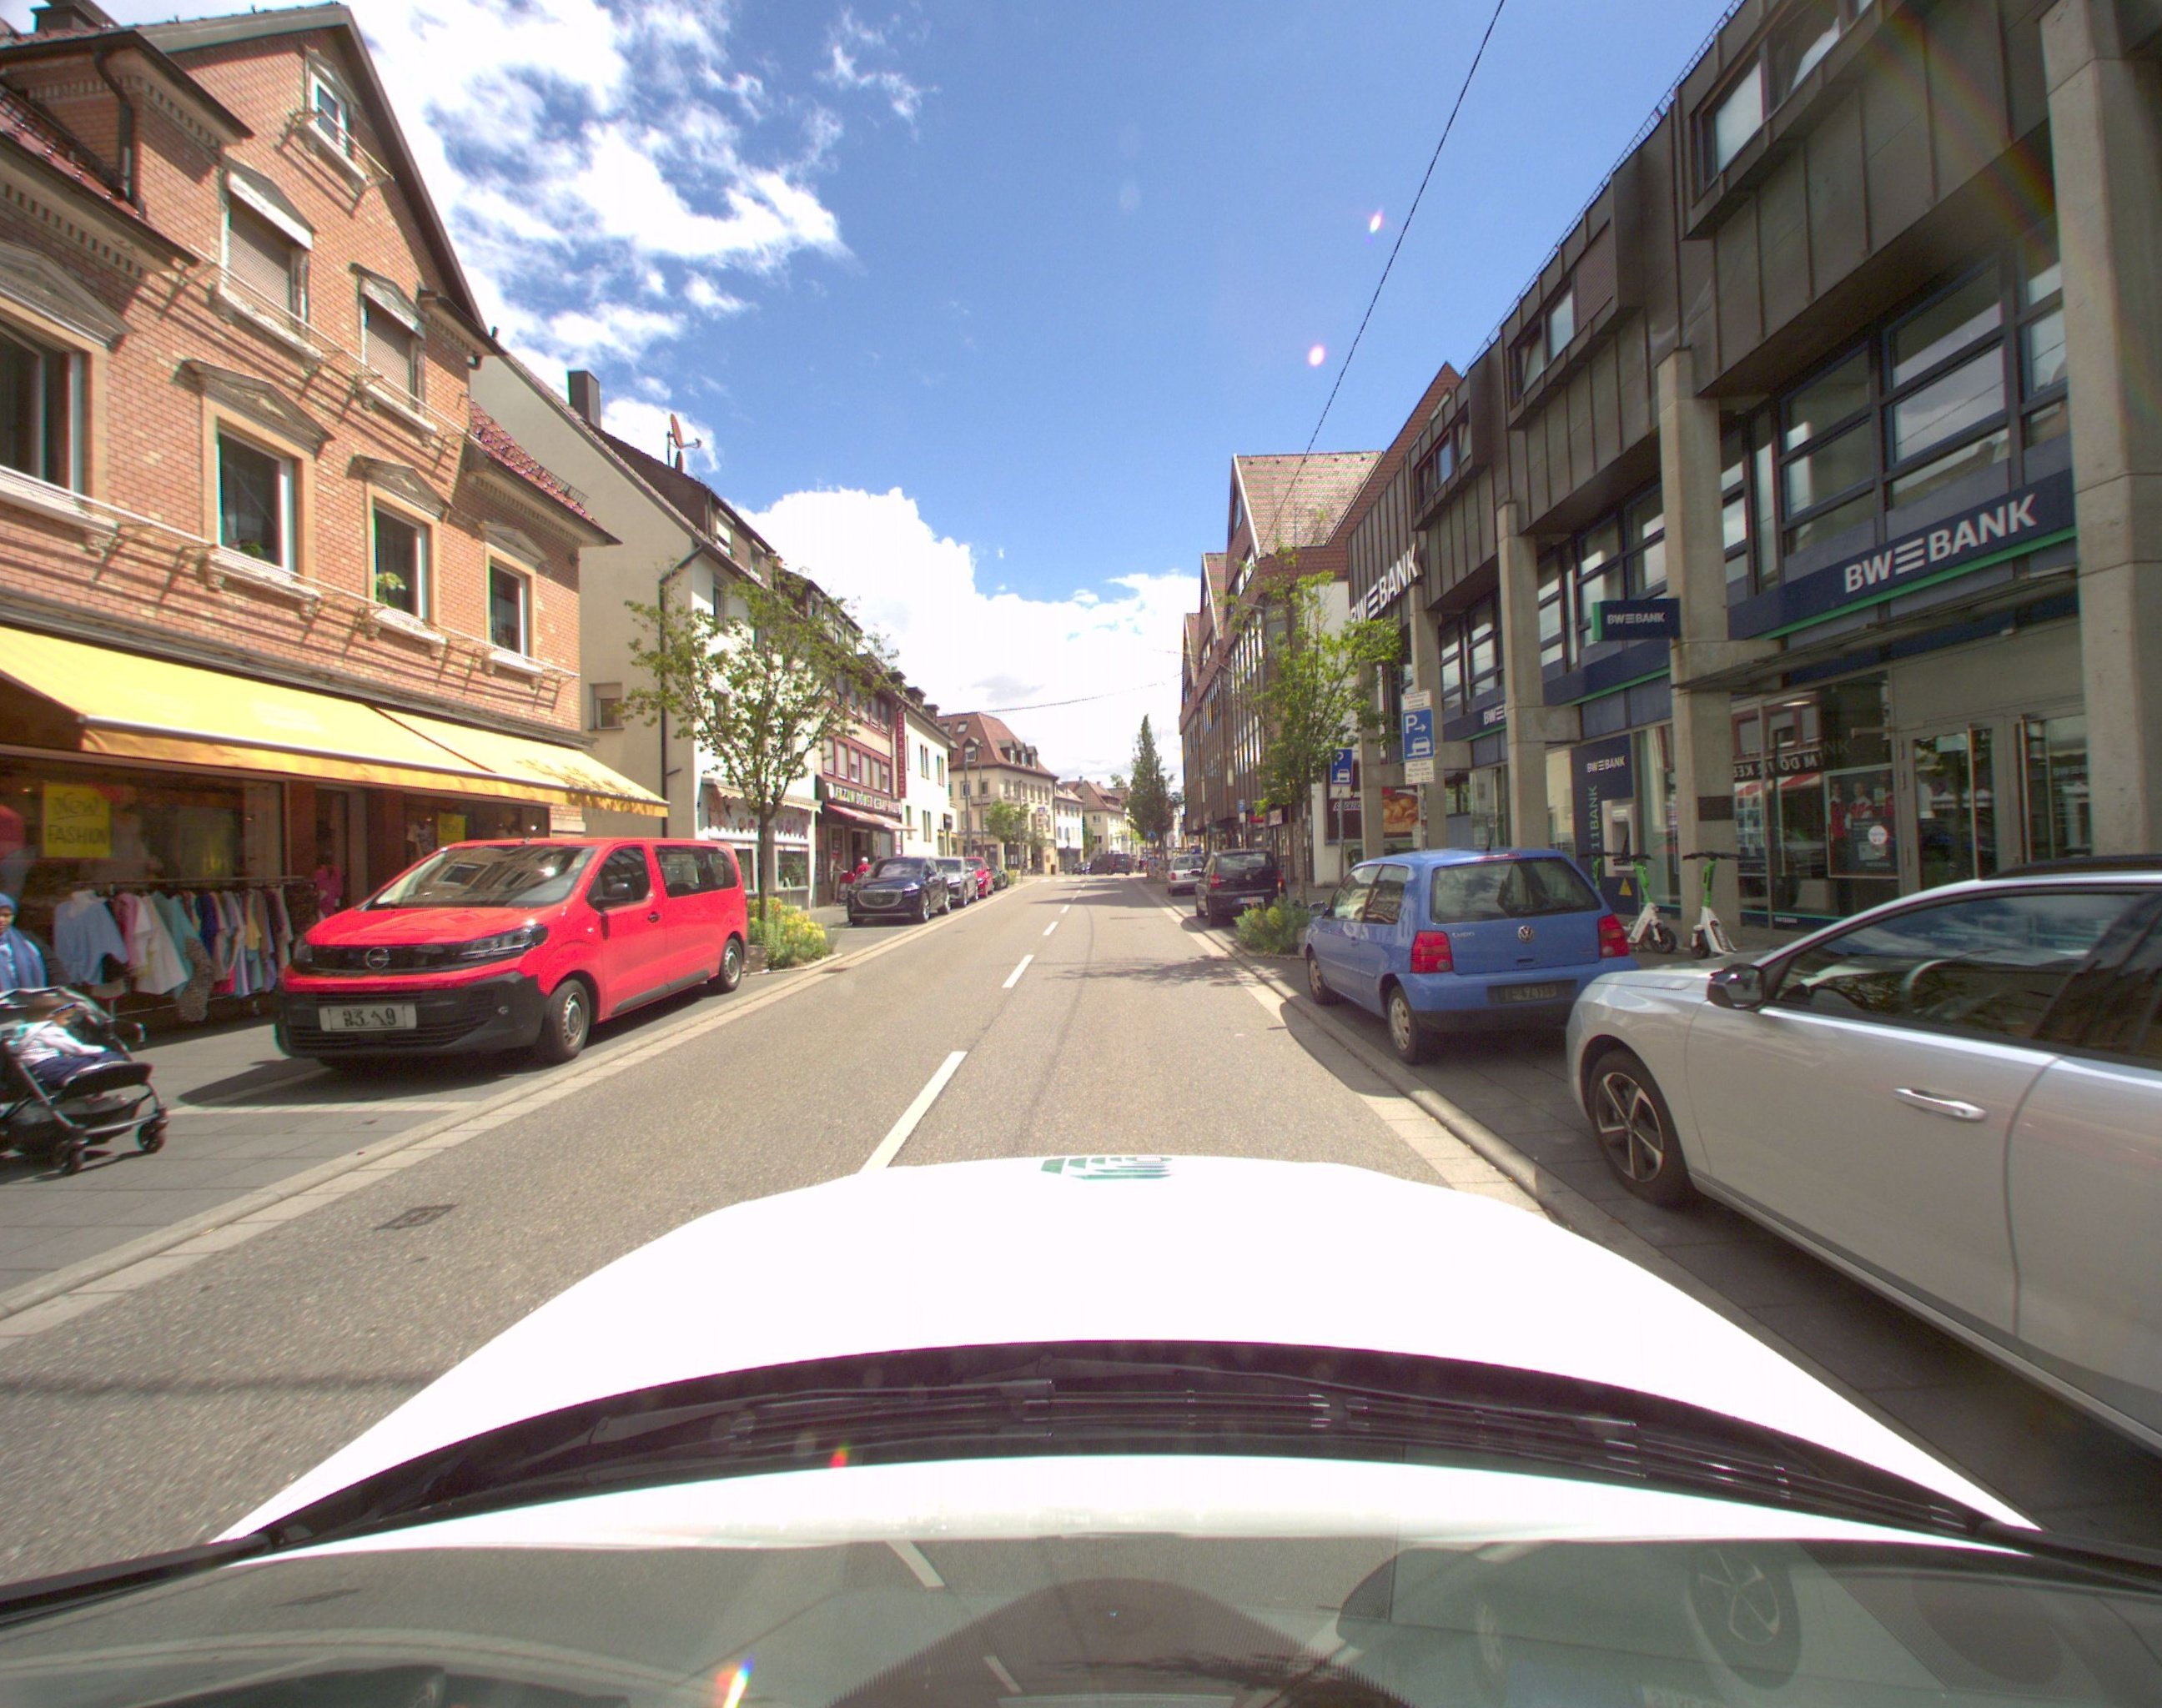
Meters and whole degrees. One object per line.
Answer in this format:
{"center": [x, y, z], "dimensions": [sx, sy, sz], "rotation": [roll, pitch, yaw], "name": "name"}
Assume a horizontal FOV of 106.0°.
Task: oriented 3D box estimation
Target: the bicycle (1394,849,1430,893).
{"center": [8.822, 0.444, 21.768], "dimensions": [0.423, 1.119, 1.503], "rotation": [-1, -1, 4], "name": "bicycle"}

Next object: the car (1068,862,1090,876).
{"center": [-0.186, 1.619, 89.483], "dimensions": [1.613, 1.486, 3.819], "rotation": [-1, -1, 13], "name": "car"}

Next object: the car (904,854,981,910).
{"center": [-4.428, 0.855, 26.580], "dimensions": [1.794, 1.604, 4.349], "rotation": [-2, 0, -1], "name": "car"}

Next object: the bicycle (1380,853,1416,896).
{"center": [8.381, 0.528, 21.567], "dimensions": [0.423, 1.081, 1.503], "rotation": [-3, 0, 4], "name": "bicycle"}

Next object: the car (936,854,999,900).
{"center": [-4.359, 0.844, 31.790], "dimensions": [1.794, 1.604, 4.218], "rotation": [-2, 0, 0], "name": "car"}

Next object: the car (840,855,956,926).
{"center": [-4.550, 0.845, 20.903], "dimensions": [1.792, 1.598, 4.391], "rotation": [-1, 0, 2], "name": "car"}

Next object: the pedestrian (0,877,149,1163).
{"center": [-6.382, 0.936, 4.827], "dimensions": [0.802, 1.574, 0.780], "rotation": [-1, -1, 4], "name": "pedestrian"}

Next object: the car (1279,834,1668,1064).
{"center": [3.064, 0.653, 7.392], "dimensions": [1.714, 1.494, 4.112], "rotation": [-1, -1, 3], "name": "car"}

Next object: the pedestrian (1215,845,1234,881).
{"center": [6.872, 0.426, 39.010], "dimensions": [0.658, 1.706, 0.642], "rotation": [0, -1, -21], "name": "pedestrian"}

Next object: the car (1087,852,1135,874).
{"center": [2.541, 0.812, 70.330], "dimensions": [2.051, 1.848, 4.956], "rotation": [0, -1, -26], "name": "car"}

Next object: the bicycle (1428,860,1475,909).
{"center": [8.741, 0.699, 19.281], "dimensions": [0.423, 1.119, 1.742], "rotation": [-1, -1, 4], "name": "bicycle"}

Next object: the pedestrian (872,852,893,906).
{"center": [-6.168, 0.769, 25.304], "dimensions": [0.512, 1.648, 0.472], "rotation": [-1, -1, 0], "name": "pedestrian"}

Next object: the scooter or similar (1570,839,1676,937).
{"center": [7.367, 0.445, 11.148], "dimensions": [0.420, 1.246, 1.562], "rotation": [-1, -1, 1], "name": "scooter or similar"}

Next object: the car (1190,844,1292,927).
{"center": [3.377, 0.614, 17.808], "dimensions": [1.603, 1.532, 3.798], "rotation": [-3, 0, 3], "name": "car"}

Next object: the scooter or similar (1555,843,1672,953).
{"center": [6.439, 0.510, 9.916], "dimensions": [0.405, 1.246, 1.321], "rotation": [0, -1, -8], "name": "scooter or similar"}

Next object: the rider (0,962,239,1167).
{"center": [-5.687, 1.182, 4.754], "dimensions": [0.800, 1.013, 0.707], "rotation": [-1, -1, 4], "name": "rider"}

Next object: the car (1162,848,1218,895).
{"center": [3.948, 0.603, 29.979], "dimensions": [1.603, 1.495, 3.798], "rotation": [-5, 0, 3], "name": "car"}

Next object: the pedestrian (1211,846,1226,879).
{"center": [7.612, 0.488, 45.055], "dimensions": [0.734, 1.814, 0.712], "rotation": [-1, -1, 2], "name": "pedestrian"}

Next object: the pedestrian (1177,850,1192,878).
{"center": [6.028, 0.588, 47.520], "dimensions": [0.781, 1.616, 0.800], "rotation": [-1, -1, 2], "name": "pedestrian"}

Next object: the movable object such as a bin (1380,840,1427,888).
{"center": [10.444, 0.332, 26.417], "dimensions": [1.137, 1.528, 1.033], "rotation": [-1, -1, 4], "name": "movable object such as a bin"}

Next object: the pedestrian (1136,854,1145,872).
{"center": [5.744, 0.864, 78.325], "dimensions": [0.865, 1.708, 0.531], "rotation": [-1, -1, 4], "name": "pedestrian"}

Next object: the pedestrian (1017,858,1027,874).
{"center": [-5.819, 1.194, 80.247], "dimensions": [0.620, 1.532, 0.864], "rotation": [-1, -1, 25], "name": "pedestrian"}

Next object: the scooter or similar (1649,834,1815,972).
{"center": [6.456, 0.456, 8.175], "dimensions": [0.420, 1.246, 1.562], "rotation": [-1, -1, 1], "name": "scooter or similar"}

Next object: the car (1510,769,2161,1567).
{"center": [2.984, 0.582, 1.967], "dimensions": [1.714, 1.576, 4.432], "rotation": [-2, 1, 3], "name": "car"}

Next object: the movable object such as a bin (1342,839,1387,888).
{"center": [9.245, 0.310, 26.566], "dimensions": [1.137, 1.528, 1.033], "rotation": [-1, -1, 4], "name": "movable object such as a bin"}

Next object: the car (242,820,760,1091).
{"center": [-5.052, 0.747, 8.199], "dimensions": [1.811, 1.889, 4.837], "rotation": [-1, -1, -1], "name": "car"}

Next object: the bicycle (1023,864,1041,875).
{"center": [-4.587, 1.428, 76.696], "dimensions": [1.619, 1.031, 0.570], "rotation": [-1, -1, 17], "name": "bicycle"}

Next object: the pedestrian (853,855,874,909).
{"center": [-6.738, 0.867, 25.250], "dimensions": [0.499, 1.648, 0.574], "rotation": [-1, -1, 0], "name": "pedestrian"}

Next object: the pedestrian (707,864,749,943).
{"center": [-7.463, 1.040, 17.237], "dimensions": [0.586, 1.633, 0.662], "rotation": [-1, -1, 2], "name": "pedestrian"}

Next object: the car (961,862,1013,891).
{"center": [-4.402, 1.036, 38.606], "dimensions": [1.812, 1.224, 4.525], "rotation": [0, 0, 2], "name": "car"}
